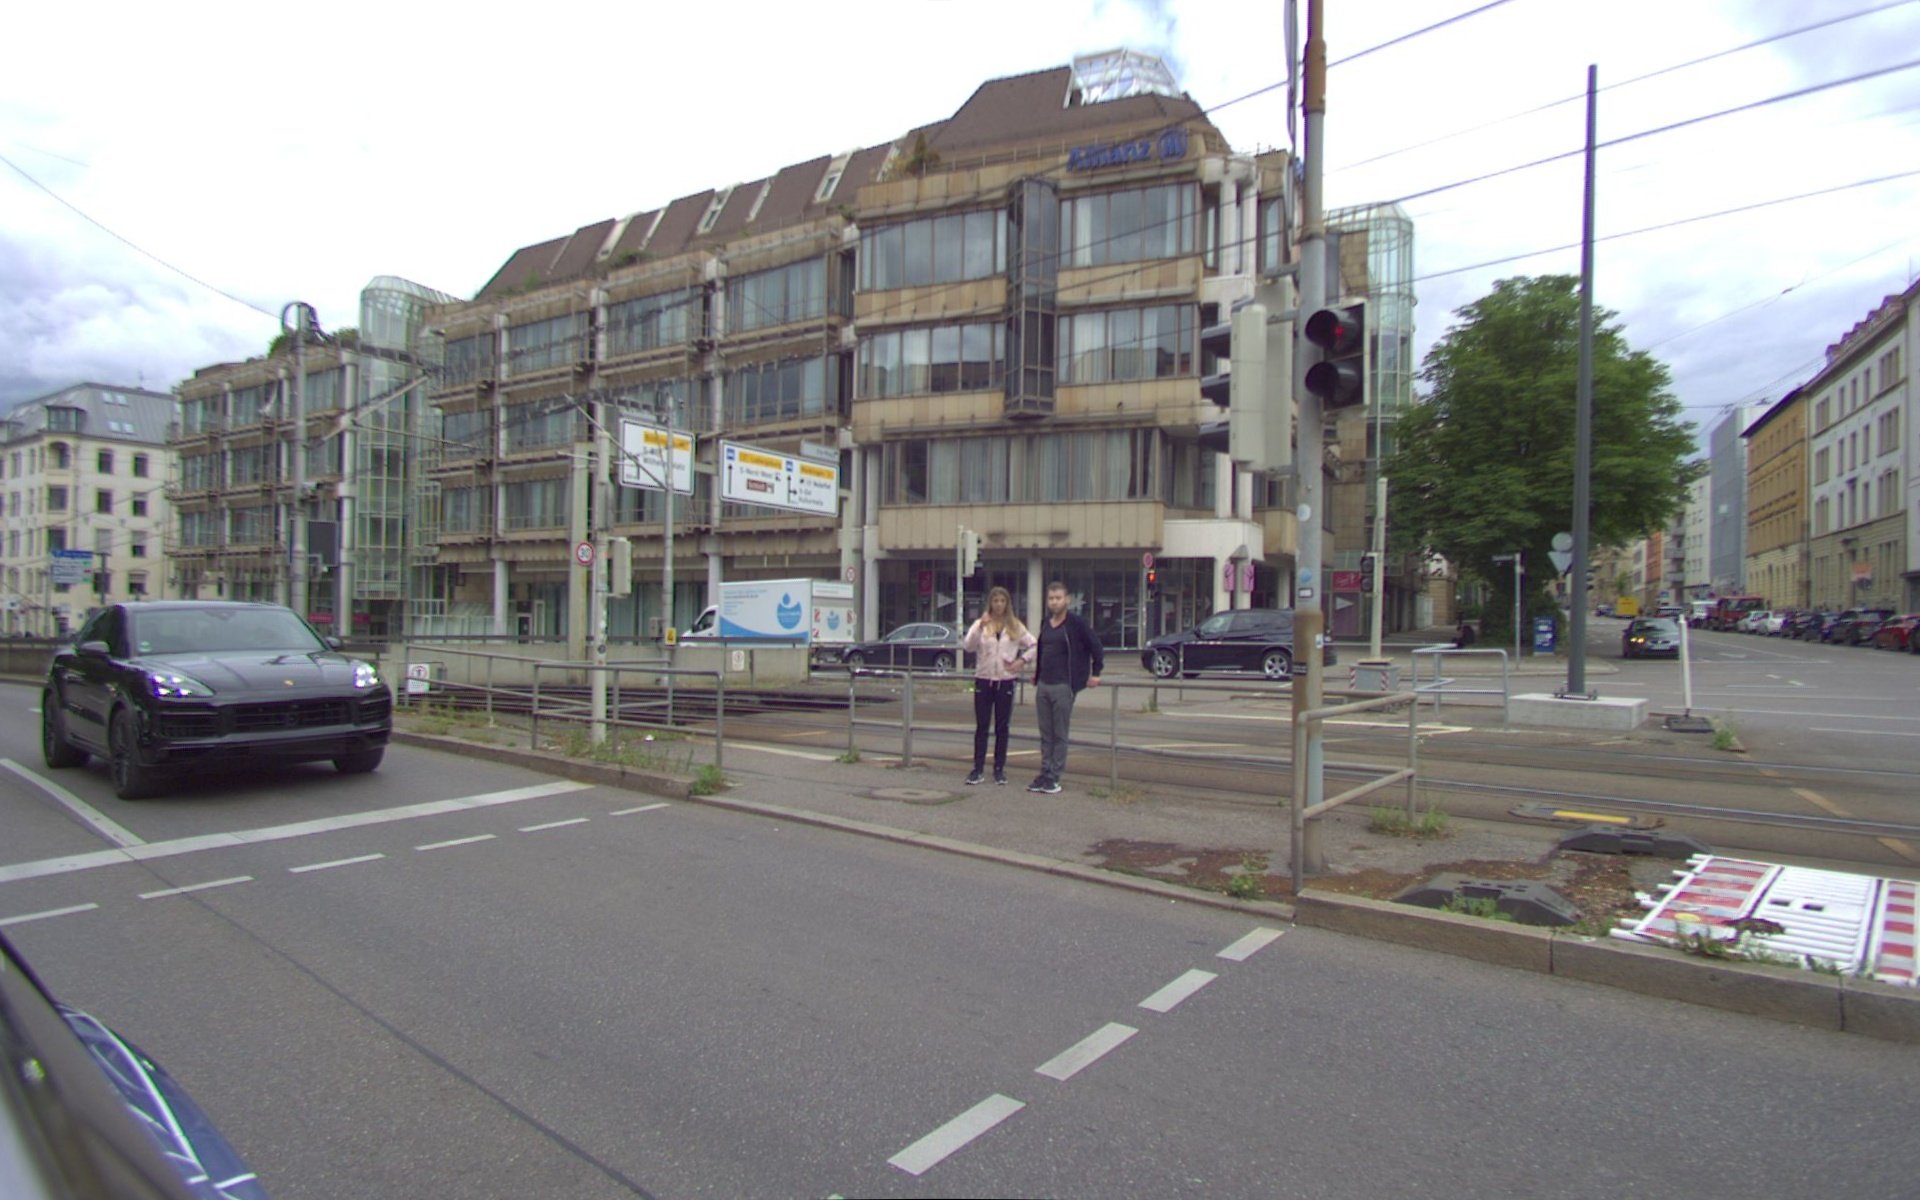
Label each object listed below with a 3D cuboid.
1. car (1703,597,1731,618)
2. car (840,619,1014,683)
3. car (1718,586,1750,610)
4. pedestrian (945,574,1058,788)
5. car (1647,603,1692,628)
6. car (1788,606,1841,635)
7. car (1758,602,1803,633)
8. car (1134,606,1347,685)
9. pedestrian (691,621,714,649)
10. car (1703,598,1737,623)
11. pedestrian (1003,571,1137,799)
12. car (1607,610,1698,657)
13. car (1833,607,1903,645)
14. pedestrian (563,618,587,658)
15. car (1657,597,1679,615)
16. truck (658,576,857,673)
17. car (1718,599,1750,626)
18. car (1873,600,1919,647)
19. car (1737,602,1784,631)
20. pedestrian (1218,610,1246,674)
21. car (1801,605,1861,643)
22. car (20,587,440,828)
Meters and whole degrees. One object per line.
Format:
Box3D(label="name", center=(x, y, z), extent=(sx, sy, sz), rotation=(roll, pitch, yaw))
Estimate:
Box3D(label="car", center=(64.671, 0.690, 86.542), extent=(1.645, 1.725, 3.609), rotation=(-2, -2, 33))
Box3D(label="car", center=(-0.921, 1.313, 26.646), extent=(4.525, 1.564, 1.642), rotation=(-2, -2, 35))
Box3D(label="car", center=(59.748, -0.126, 78.161), extent=(1.645, 1.725, 3.609), rotation=(-2, -2, 33))
Box3D(label="pedestrian", center=(0.360, 0.665, 8.722), extent=(0.637, 1.734, 0.757), rotation=(-2, -2, 39))
Box3D(label="car", center=(49.940, 1.093, 71.291), extent=(1.915, 1.725, 4.453), rotation=(-1, -1, 26))
Box3D(label="car", center=(45.161, 1.095, 53.535), extent=(1.645, 1.455, 3.609), rotation=(-2, -2, 33))
Box3D(label="car", center=(47.691, 1.030, 58.888), extent=(1.645, 1.725, 3.609), rotation=(-2, -2, 33))
Box3D(label="car", center=(6.863, 1.078, 24.978), extent=(4.767, 1.772, 1.660), rotation=(-1, 0, 33))
Box3D(label="pedestrian", center=(-11.945, 1.620, 47.002), extent=(0.738, 1.275, 0.724), rotation=(-1, -1, 34))
Box3D(label="car", center=(54.822, 0.773, 73.056), extent=(1.645, 1.725, 3.609), rotation=(-2, -2, 33))
Box3D(label="pedestrian", center=(0.900, 0.661, 8.276), extent=(0.772, 1.734, 0.784), rotation=(-2, -2, 39))
Box3D(label="car", center=(24.788, 1.172, 36.356), extent=(1.939, 1.542, 3.968), rotation=(-1, 0, 24))
Box3D(label="car", center=(38.848, 1.106, 43.360), extent=(1.645, 1.545, 3.609), rotation=(-2, -2, 33))
Box3D(label="pedestrian", center=(-18.011, 1.753, 47.342), extent=(0.738, 1.825, 0.724), rotation=(-1, -1, 34))
Box3D(label="car", center=(70.739, 0.610, 101.156), extent=(1.645, 1.725, 3.609), rotation=(-2, -2, 33))
Box3D(label="truck", center=(-7.191, 0.886, 35.471), extent=(7.353, 3.100, 2.248), rotation=(-1, -3, 33))
Box3D(label="car", center=(52.111, 0.860, 68.180), extent=(1.385, 1.753, 3.608), rotation=(-2, -2, 33))
Box3D(label="car", center=(36.300, 0.865, 38.568), extent=(1.645, 1.725, 3.609), rotation=(-2, -2, 33))
Box3D(label="car", center=(49.927, 1.041, 63.155), extent=(1.643, 1.725, 3.615), rotation=(-1, -1, 28))
Box3D(label="pedestrian", center=(7.711, 1.196, 28.715), extent=(0.577, 1.793, 0.504), rotation=(-2, -2, 41))
Box3D(label="car", center=(41.709, 1.143, 48.529), extent=(1.645, 1.725, 3.609), rotation=(-2, -2, 33))
Box3D(label="car", center=(-7.141, 0.826, 9.630), extent=(5.348, 1.688, 2.061), rotation=(-2, -2, 41))
